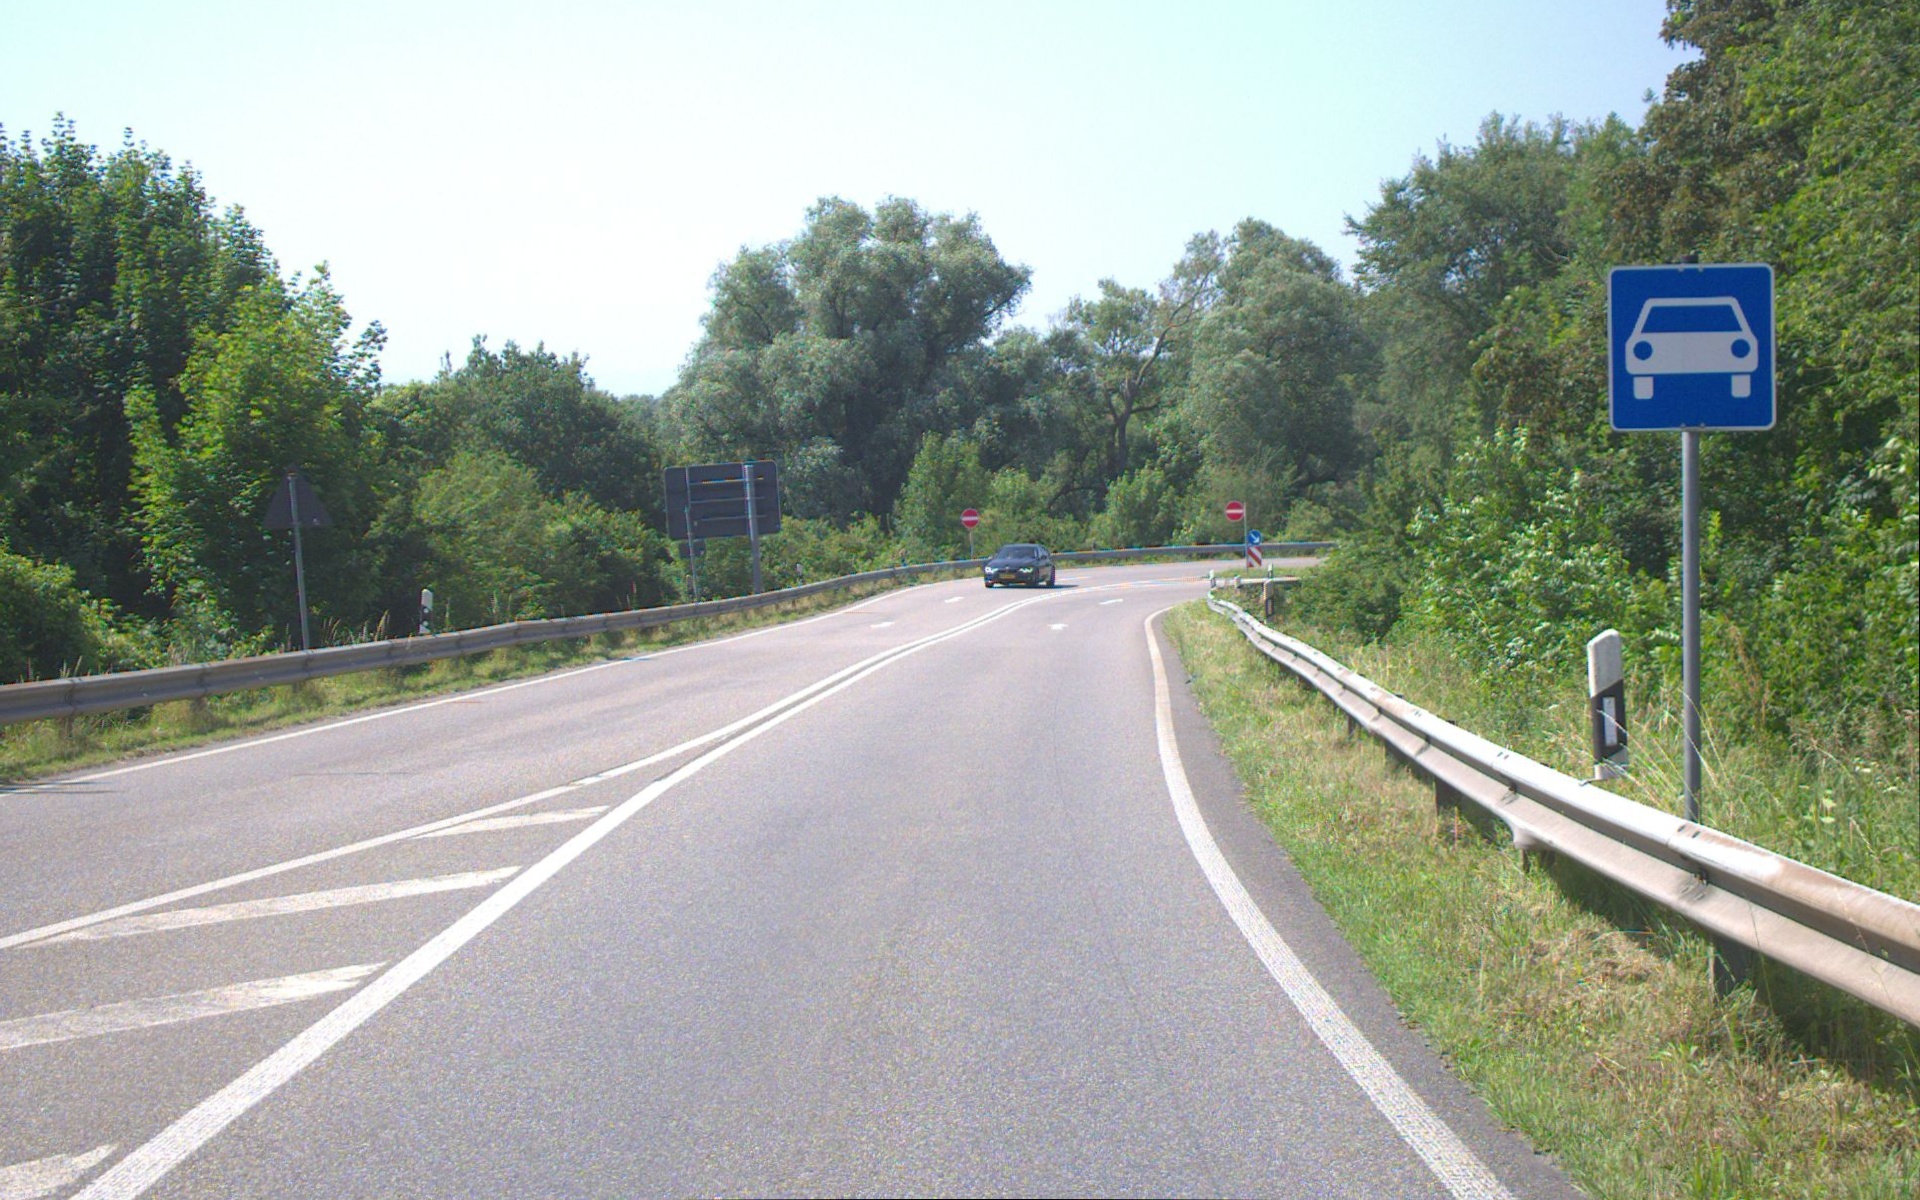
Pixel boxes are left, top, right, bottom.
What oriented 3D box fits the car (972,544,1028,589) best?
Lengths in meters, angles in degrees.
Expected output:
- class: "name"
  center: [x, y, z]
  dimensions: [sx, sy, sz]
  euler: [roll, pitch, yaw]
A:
- class: "car"
  center: [1.360, -1.140, 115.886]
  dimensions: [1.608, 1.468, 4.219]
  euler: [-1, 0, 4]
